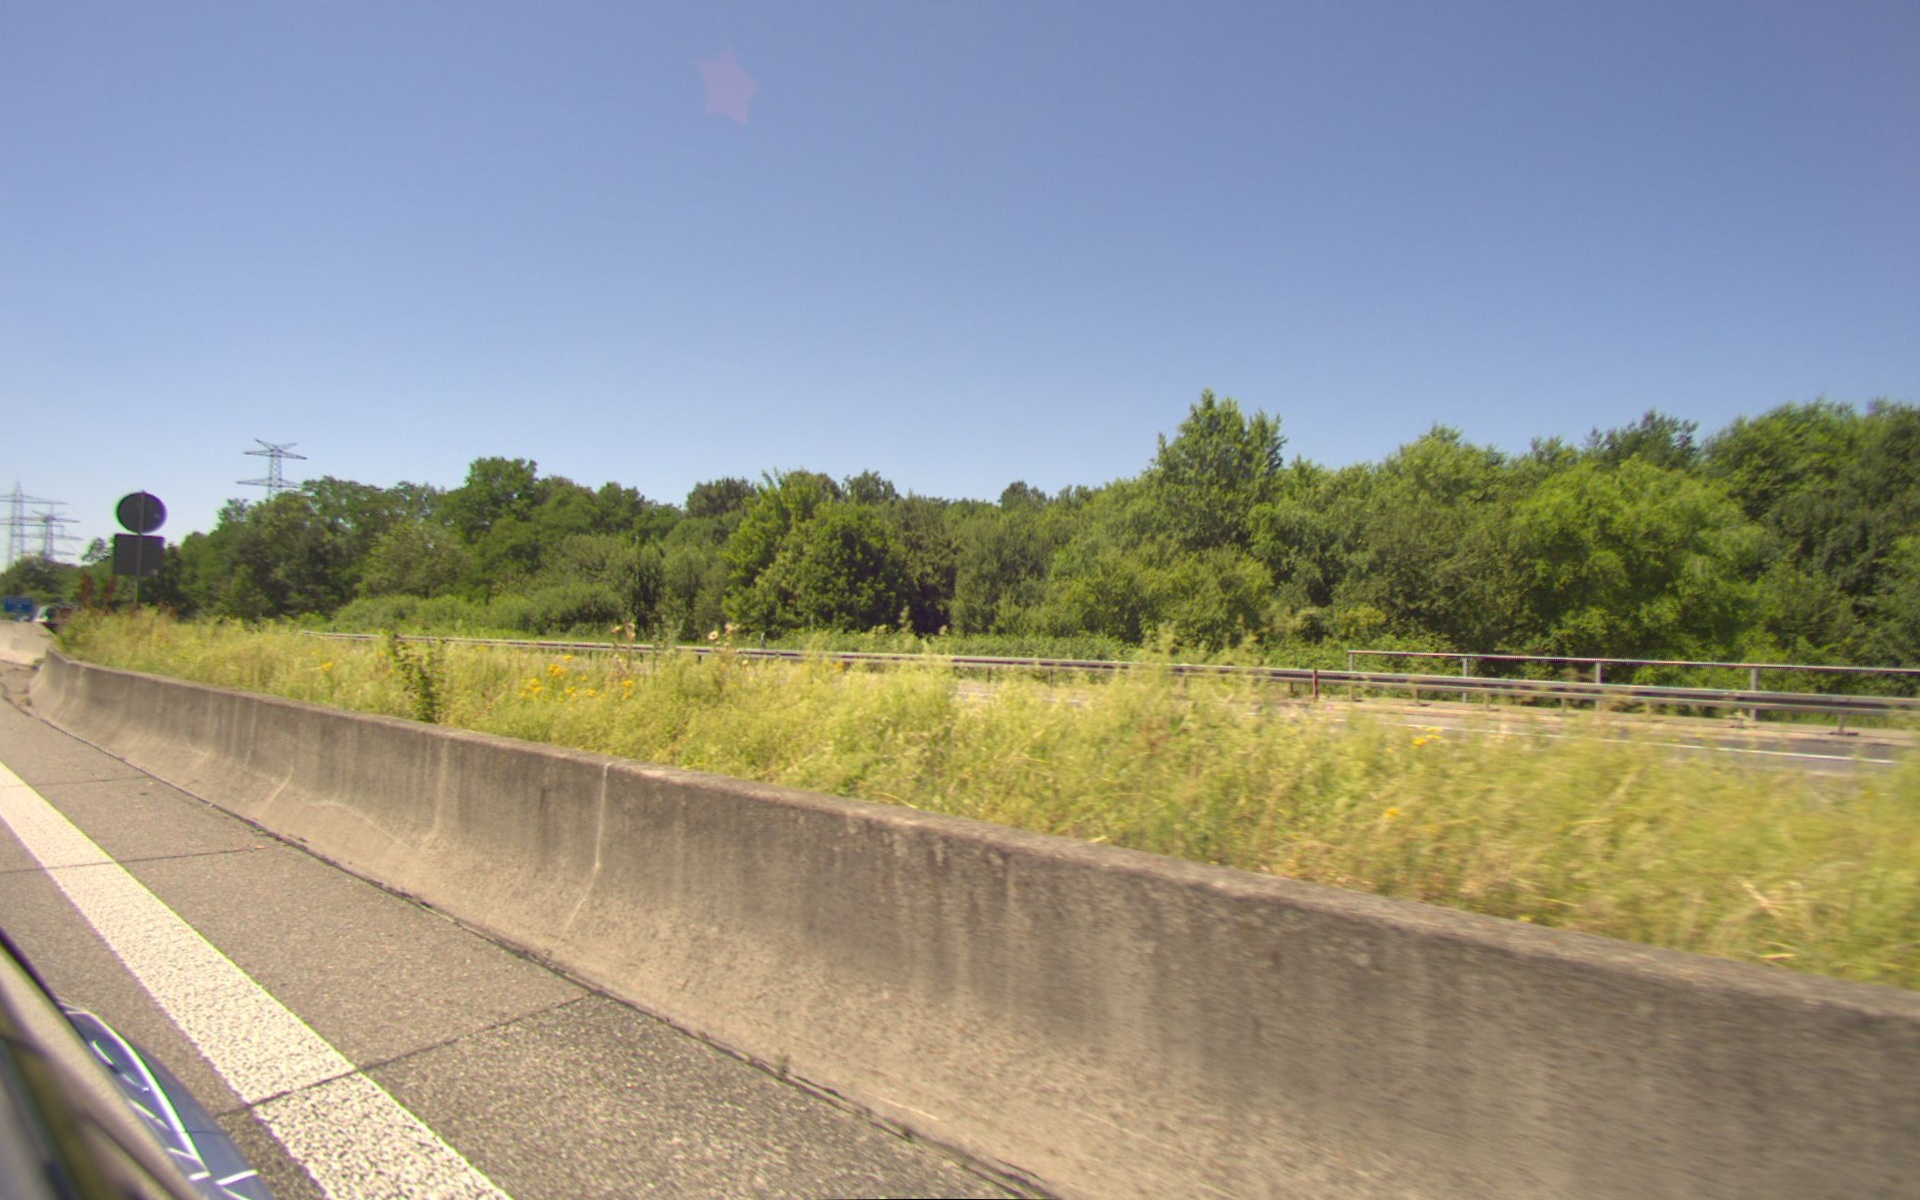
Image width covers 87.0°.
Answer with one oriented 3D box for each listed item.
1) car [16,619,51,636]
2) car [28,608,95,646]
[{"bbox_3d":[-81.282,2.420,88.783,3.998,1.483,1.751,-1,-3,41],"label":"car"},{"bbox_3d":[-50.494,1.541,56.814,6.219,2.029,1.973,-1,-4,41],"label":"car"}]
